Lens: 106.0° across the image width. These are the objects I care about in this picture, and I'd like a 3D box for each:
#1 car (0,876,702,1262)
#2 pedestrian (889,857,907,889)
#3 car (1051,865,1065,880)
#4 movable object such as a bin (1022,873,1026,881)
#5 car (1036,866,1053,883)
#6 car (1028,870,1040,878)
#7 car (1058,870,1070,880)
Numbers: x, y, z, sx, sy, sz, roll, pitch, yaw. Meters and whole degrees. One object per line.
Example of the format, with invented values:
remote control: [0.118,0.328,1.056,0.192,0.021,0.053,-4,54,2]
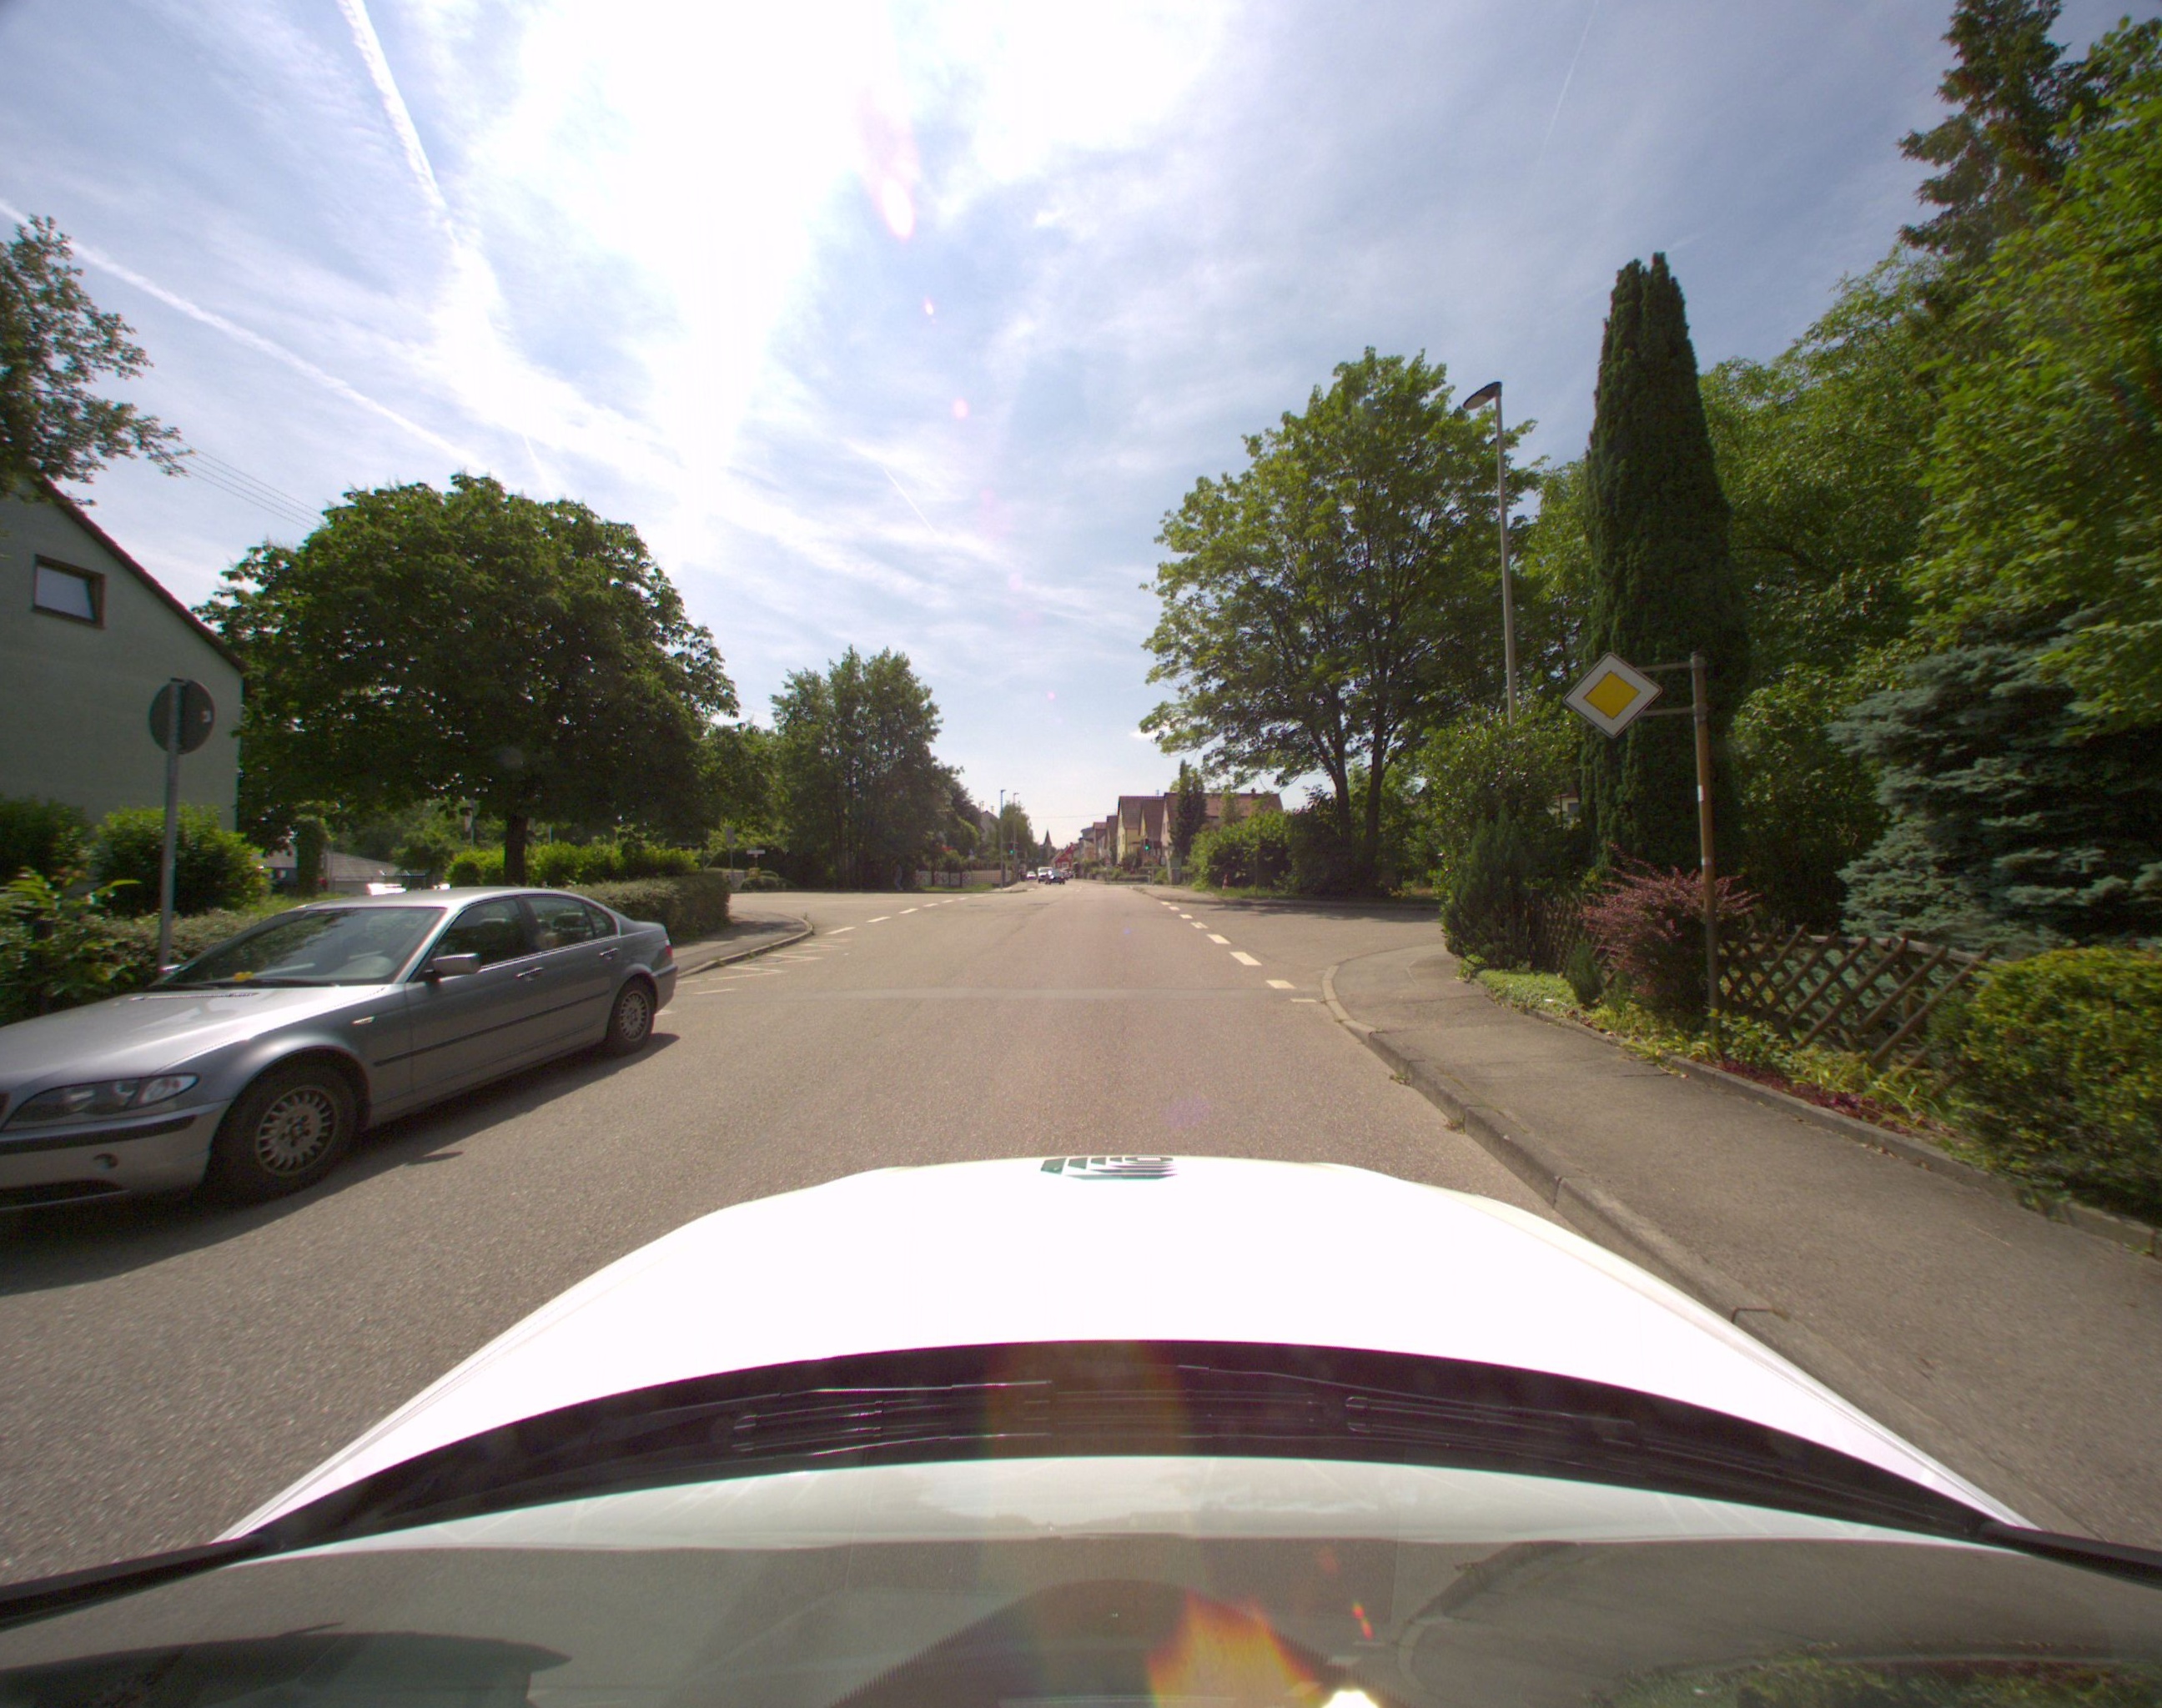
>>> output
car: [-4.512,0.915,5.385,1.773,1.394,4.411,-2,0,2]
pedestrian: [-10.632,1.105,47.343,0.729,1.778,0.693,-3,-3,19]
car: [-2.545,2.040,88.968,1.530,1.541,4.301,-1,-1,-2]
movable object such as a bin: [-7.803,3.105,111.720,0.606,1.046,0.724,0,0,-5]
car: [-4.611,2.581,101.573,1.876,1.965,4.893,-2,-2,-5]
car: [-8.810,3.778,153.502,2.104,1.561,4.312,-1,-1,0]
car: [-2.836,3.532,136.264,1.987,1.603,4.001,-1,0,1]
